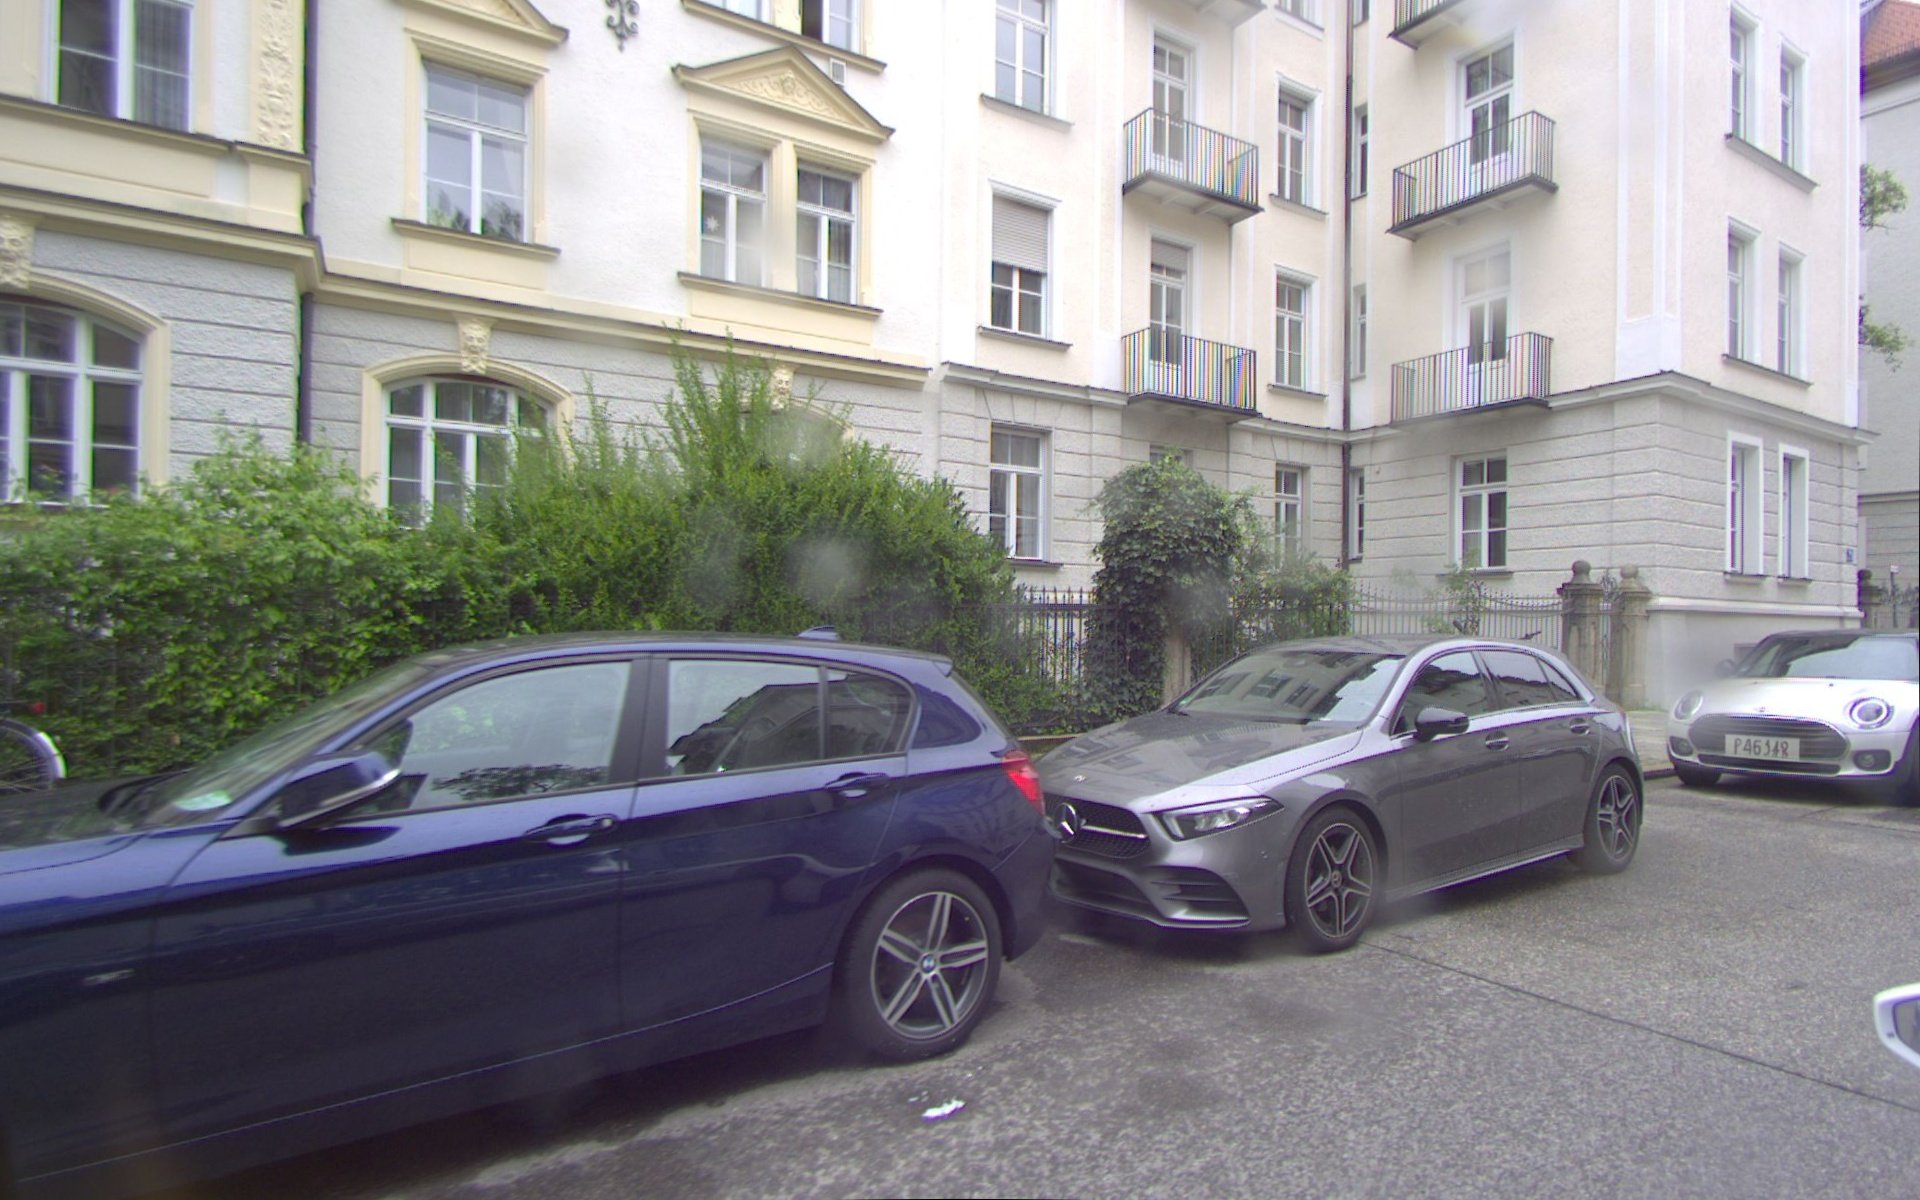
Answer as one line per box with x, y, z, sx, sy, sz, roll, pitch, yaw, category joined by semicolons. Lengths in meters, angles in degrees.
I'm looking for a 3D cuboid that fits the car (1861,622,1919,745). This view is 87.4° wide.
12.922;0.998;12.476;3.958;1.421;1.635;1;-2;-34;car

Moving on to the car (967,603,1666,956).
2.225;0.758;5.843;4.149;1.383;1.724;1;-2;-34;car

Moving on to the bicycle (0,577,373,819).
-4.985;0.547;6.027;2.501;1.314;0.751;1;-1;-31;bicycle

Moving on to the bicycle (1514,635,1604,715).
8.666;1.066;14.525;1.403;1.075;0.429;1;3;-30;bicycle

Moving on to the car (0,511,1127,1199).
-1.525;0.590;3.362;3.959;1.438;1.758;4;-1;-34;car

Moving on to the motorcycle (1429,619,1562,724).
7.029;0.915;13.163;1.801;1.266;0.700;2;1;-32;motorcycle

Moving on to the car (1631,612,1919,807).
8.333;0.898;9.498;4.034;1.454;1.787;2;0;-32;car
